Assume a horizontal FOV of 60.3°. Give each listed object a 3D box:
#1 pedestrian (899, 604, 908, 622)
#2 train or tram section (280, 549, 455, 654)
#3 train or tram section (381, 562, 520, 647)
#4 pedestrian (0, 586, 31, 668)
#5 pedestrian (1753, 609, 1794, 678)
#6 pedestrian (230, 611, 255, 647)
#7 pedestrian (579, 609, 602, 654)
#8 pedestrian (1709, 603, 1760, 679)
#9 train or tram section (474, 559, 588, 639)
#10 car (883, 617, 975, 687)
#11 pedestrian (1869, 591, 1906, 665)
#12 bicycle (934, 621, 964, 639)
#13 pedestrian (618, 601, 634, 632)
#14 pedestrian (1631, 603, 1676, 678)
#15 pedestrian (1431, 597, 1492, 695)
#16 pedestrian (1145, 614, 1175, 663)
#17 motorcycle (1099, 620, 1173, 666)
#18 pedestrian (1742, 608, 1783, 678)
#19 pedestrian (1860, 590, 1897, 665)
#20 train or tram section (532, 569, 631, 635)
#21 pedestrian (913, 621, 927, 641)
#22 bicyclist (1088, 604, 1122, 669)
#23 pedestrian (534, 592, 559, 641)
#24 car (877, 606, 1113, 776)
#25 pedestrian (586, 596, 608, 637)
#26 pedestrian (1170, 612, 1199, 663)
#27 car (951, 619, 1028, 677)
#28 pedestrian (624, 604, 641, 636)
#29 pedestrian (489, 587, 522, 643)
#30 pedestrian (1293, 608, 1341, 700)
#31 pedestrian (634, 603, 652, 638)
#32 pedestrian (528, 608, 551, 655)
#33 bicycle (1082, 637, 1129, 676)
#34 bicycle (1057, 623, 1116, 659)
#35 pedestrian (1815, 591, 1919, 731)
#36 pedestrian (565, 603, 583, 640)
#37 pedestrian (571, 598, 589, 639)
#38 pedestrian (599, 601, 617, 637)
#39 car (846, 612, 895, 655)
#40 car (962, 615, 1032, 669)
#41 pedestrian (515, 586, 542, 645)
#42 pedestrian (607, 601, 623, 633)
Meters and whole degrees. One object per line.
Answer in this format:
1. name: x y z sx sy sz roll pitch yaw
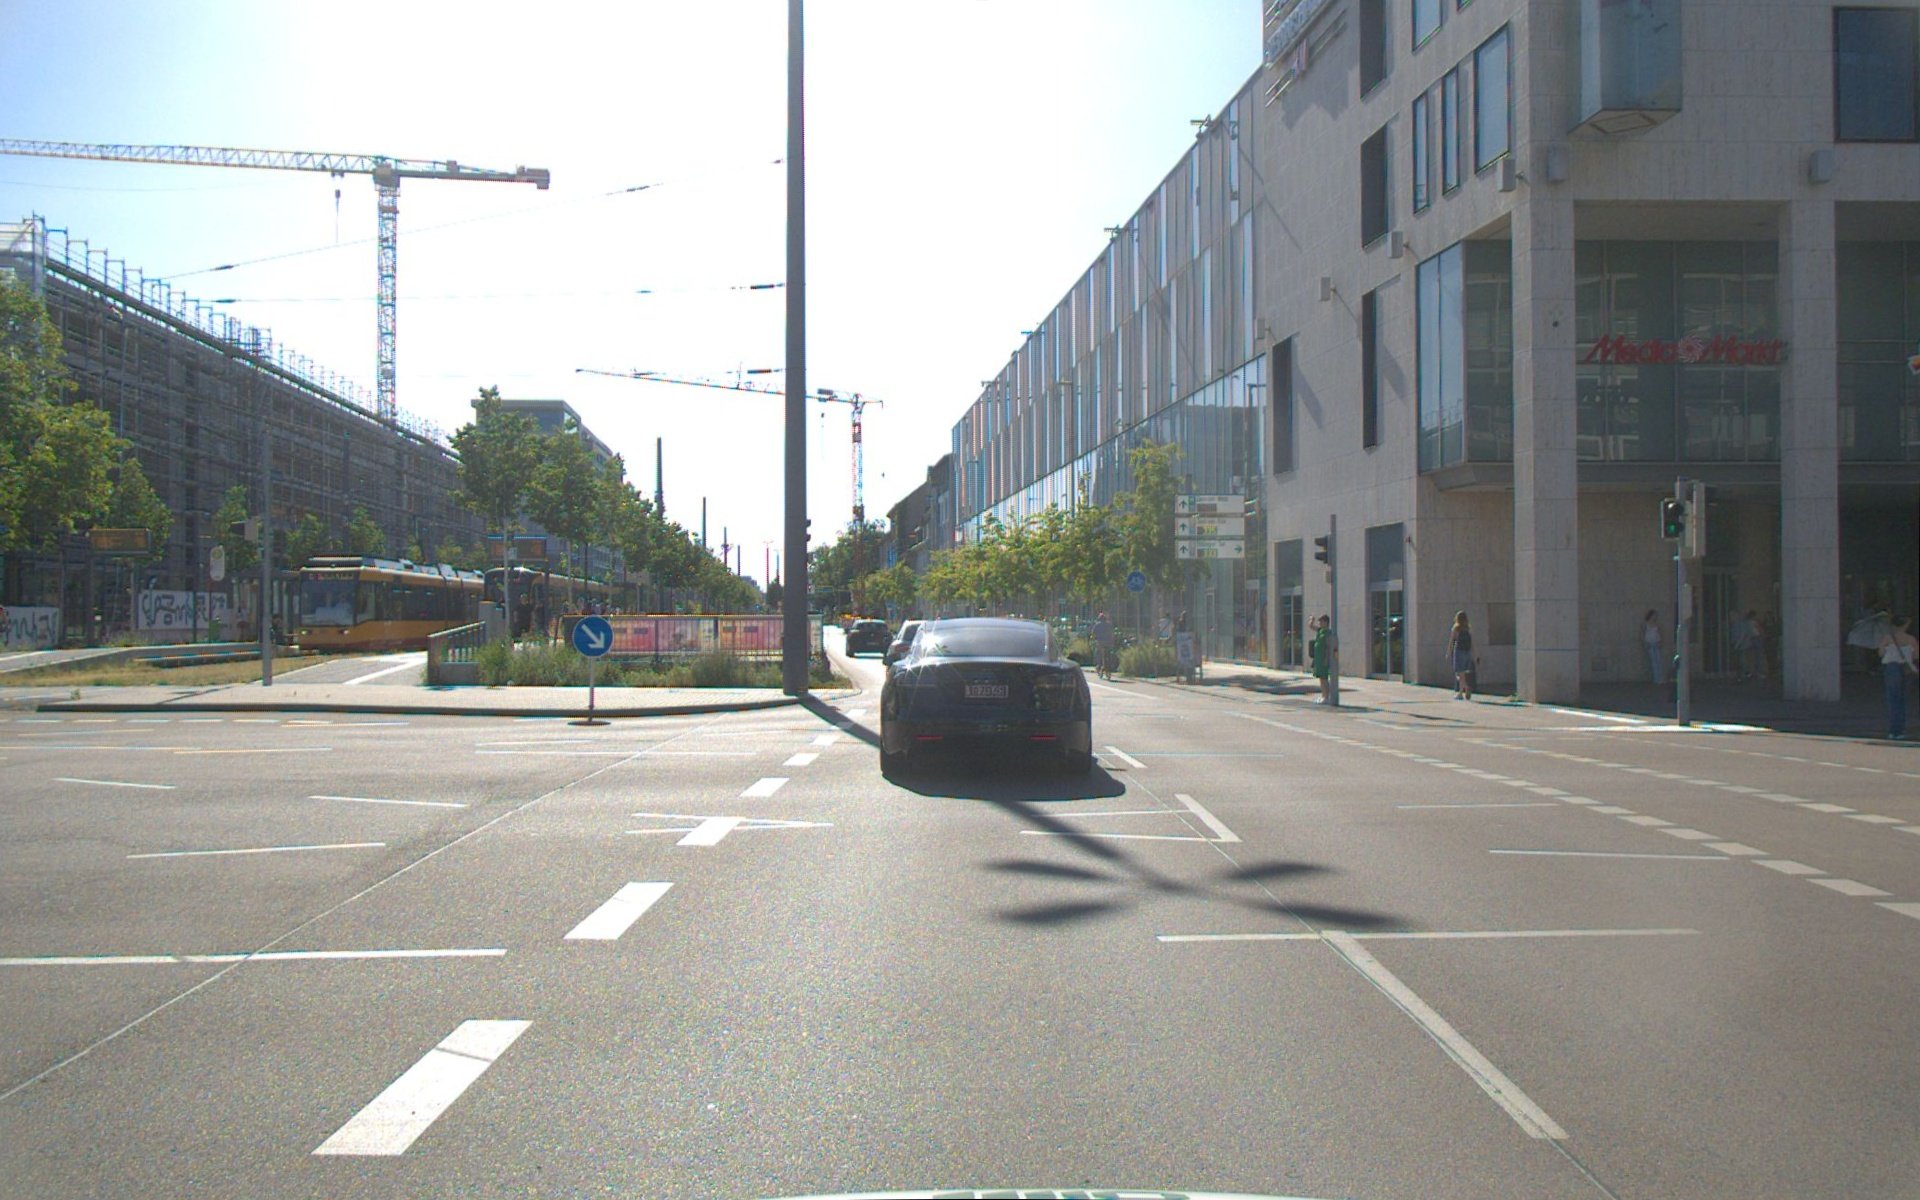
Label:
1. pedestrian: -6.290 1.449 184.008 0.835 1.896 0.928 -1 -1 -7
2. train or tram section: -21.345 0.101 60.536 2.815 3.368 13.056 2 -1 -6
3. train or tram section: -22.741 0.219 74.943 2.793 3.379 15.946 1 0 -6
4. pedestrian: -21.961 0.612 37.961 0.785 1.855 0.974 0 0 -8
5. pedestrian: 19.715 1.046 40.099 0.552 1.636 0.738 -1 0 -42
6. pedestrian: -25.377 1.014 58.509 0.659 1.248 0.505 1 -1 -8
7. pedestrian: -13.777 1.166 61.719 0.727 1.657 0.860 0 -1 -5
8. pedestrian: 16.902 0.881 36.111 0.709 1.636 0.749 -1 0 -5
9. train or tram section: -20.082 0.018 78.498 2.815 3.337 15.165 2 -1 -6
10. car: -0.703 1.056 34.814 1.683 1.343 3.996 0 0 -5
11. pedestrian: 22.813 0.684 40.689 0.552 1.793 0.640 -1 0 -42
12. bicycle: -0.734 1.981 109.759 1.851 1.171 0.668 -2 -1 -16
13. pedestrian: -18.001 0.893 89.150 0.727 1.657 0.860 0 -1 -5
14. pedestrian: 15.428 0.896 36.812 0.733 1.636 0.556 -1 0 -7
15. pedestrian: 9.712 0.875 32.044 0.714 1.833 1.065 -2 0 -6
16. pedestrian: 6.846 1.310 56.617 0.806 1.687 0.898 0 -1 -10
17. motorcycle: 5.410 1.332 51.019 2.145 1.347 0.903 -1 -1 -2
18. pedestrian: 19.240 1.027 39.647 0.552 1.636 0.738 -1 0 -42
19. pedestrian: 22.323 0.662 40.203 0.552 1.793 0.640 -1 0 -42
20. train or tram section: -21.881 0.178 97.073 2.815 3.337 22.115 2 -1 -6
21. pedestrian: -3.782 2.949 156.277 1.074 1.896 1.520 -1 -1 -7
22. bicyclist: 3.990 1.006 45.556 0.711 1.767 0.995 0 -1 -9
23. pedestrian: -15.535 0.630 62.100 0.776 1.806 0.977 1 0 -9
24. car: 0.195 0.805 16.453 1.960 1.459 4.409 1 0 -4
25. pedestrian: -16.878 0.770 76.840 0.870 1.883 1.006 0 -1 -6
26. pedestrian: 7.689 1.270 56.617 0.693 1.687 0.898 -2 0 -10
27. car: 0.750 1.261 44.602 1.683 1.457 3.996 0 0 -5
28. pedestrian: -16.902 1.037 85.427 0.727 1.657 0.946 0 -1 -5
29. pedestrian: -14.908 0.483 54.293 0.858 1.806 1.187 1 0 -9
30. pedestrian: 6.908 1.035 32.005 0.644 1.732 0.697 -3 0 -8
31. pedestrian: -15.042 0.959 78.433 0.727 1.657 0.860 0 -1 -5
32. pedestrian: -16.458 1.237 64.734 0.747 1.806 0.825 1 0 -8
33. bicycle: 3.999 1.543 45.563 0.715 1.001 2.328 2 -1 -9
34. bicycle: 4.563 1.495 59.831 2.042 1.226 0.950 -2 -1 0
35. pedestrian: 12.745 0.811 22.835 0.948 1.833 1.521 -2 0 -6
36. pedestrian: -16.225 0.905 69.510 0.635 1.539 0.587 1 0 -9
37. pedestrian: -17.016 0.821 74.153 0.659 1.842 1.073 0 -1 -6
38. pedestrian: -16.621 0.893 78.064 0.727 1.657 0.860 0 -1 -5
39. car: -3.511 1.283 65.160 1.850 1.624 3.998 0 0 -3
40. car: 1.097 1.264 50.847 1.749 1.573 4.035 0 0 -4
41. pedestrian: -13.444 0.473 51.551 0.690 1.806 0.957 1 0 -9
42. pedestrian: -17.959 0.892 86.057 0.727 1.657 0.860 0 -1 -5
